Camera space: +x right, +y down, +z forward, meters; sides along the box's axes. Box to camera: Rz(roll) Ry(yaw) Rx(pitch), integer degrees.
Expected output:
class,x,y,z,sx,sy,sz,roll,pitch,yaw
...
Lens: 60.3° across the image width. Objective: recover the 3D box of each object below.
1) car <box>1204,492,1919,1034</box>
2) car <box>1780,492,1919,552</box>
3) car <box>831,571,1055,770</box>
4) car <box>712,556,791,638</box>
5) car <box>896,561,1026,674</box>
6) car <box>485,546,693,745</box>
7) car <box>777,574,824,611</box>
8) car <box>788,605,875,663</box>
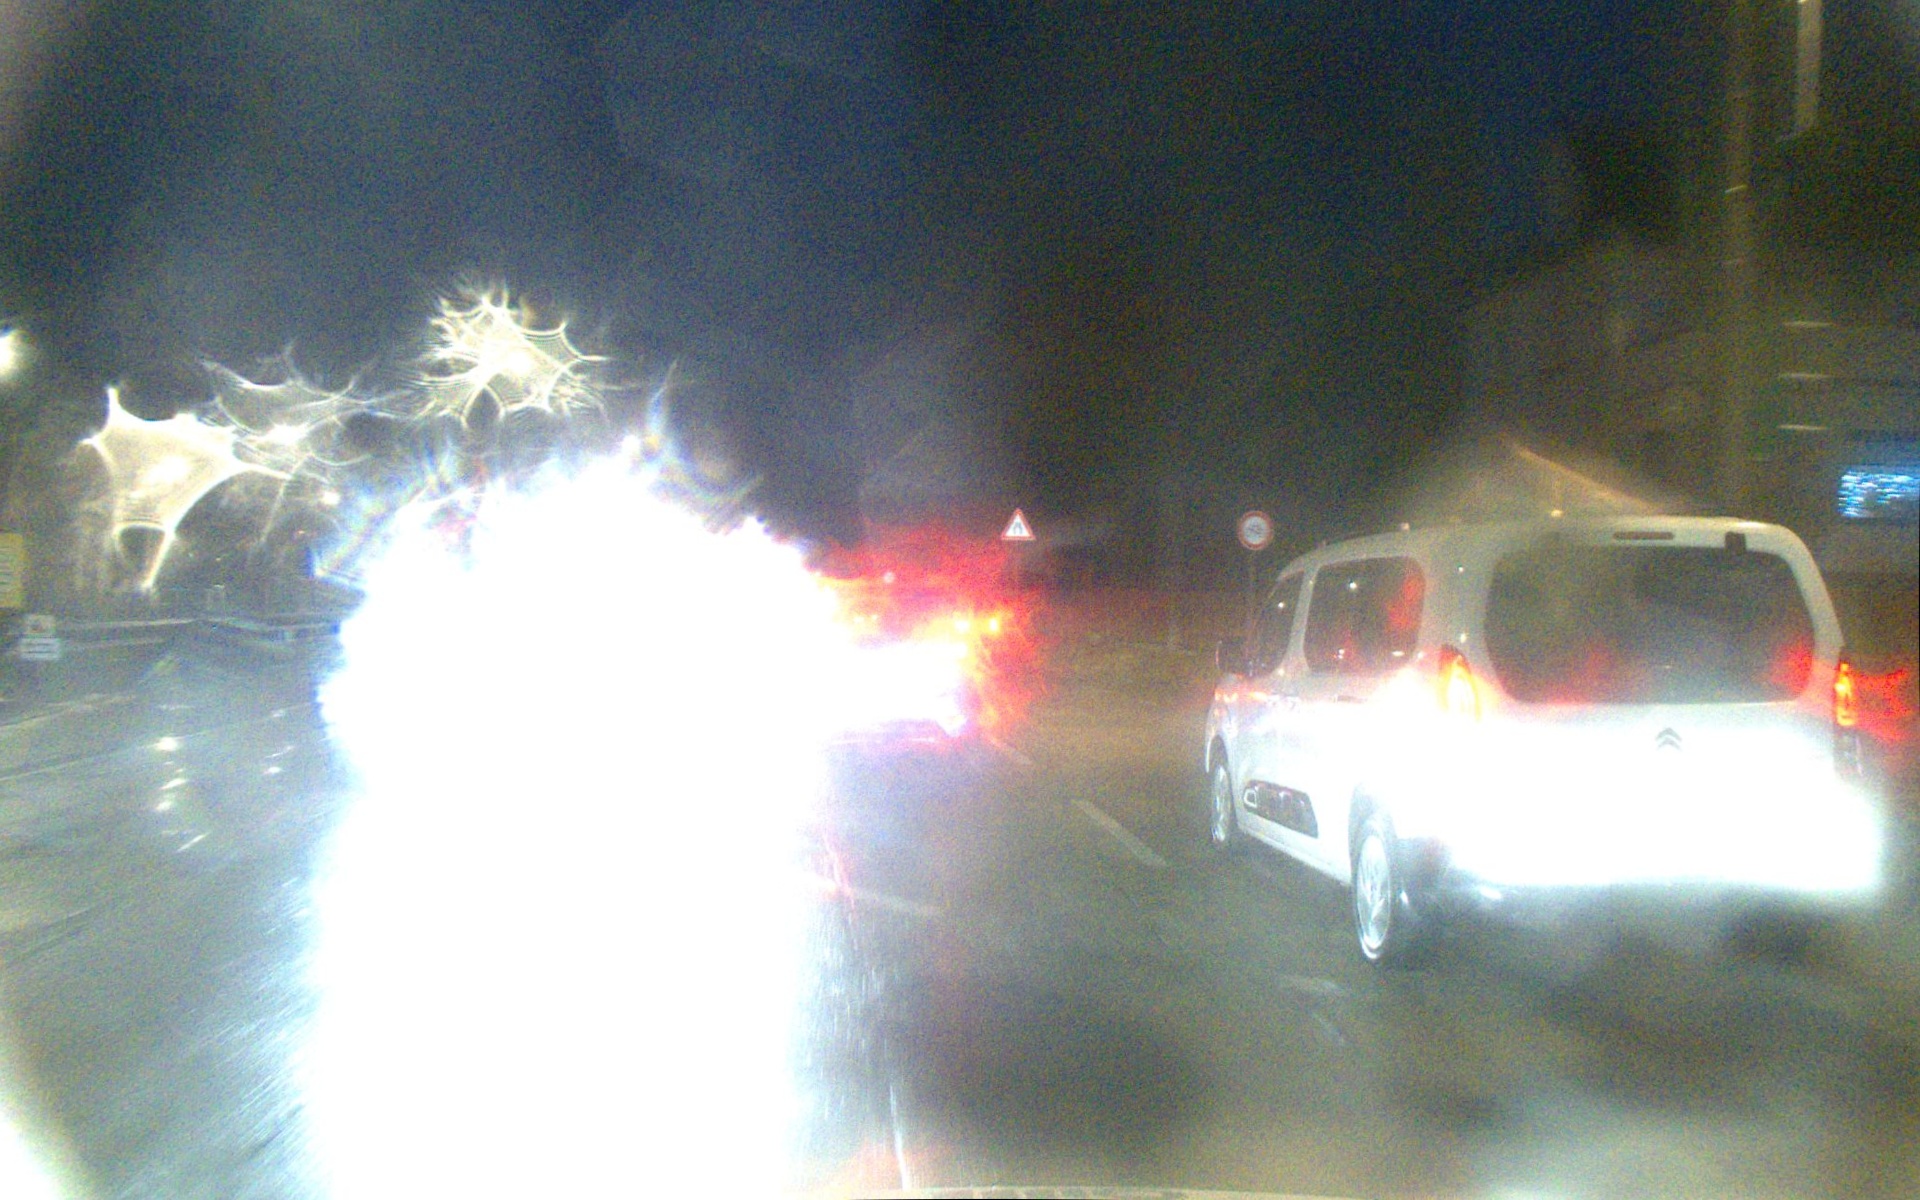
class,x,y,z,sx,sy,sz,roll,pitch,yaw
car,2.509,0.542,8.011,1.815,1.897,4.338,0,1,-3
car,26.926,-2.314,49.598,3.988,1.698,1.771,1,1,36
car,-0.219,0.591,16.828,1.974,1.747,4.450,0,1,-2
car,-5.448,-0.094,43.320,1.956,2.049,3.994,0,1,-7
car,-0.049,0.292,32.432,1.932,2.082,3.992,0,1,-9
car,-4.042,0.482,18.344,1.979,1.920,4.439,0,-1,-11
car,-7.313,-0.354,76.080,1.954,1.662,3.998,0,1,-3
car,-4.268,1.086,54.405,1.963,1.748,3.979,0,1,-19
